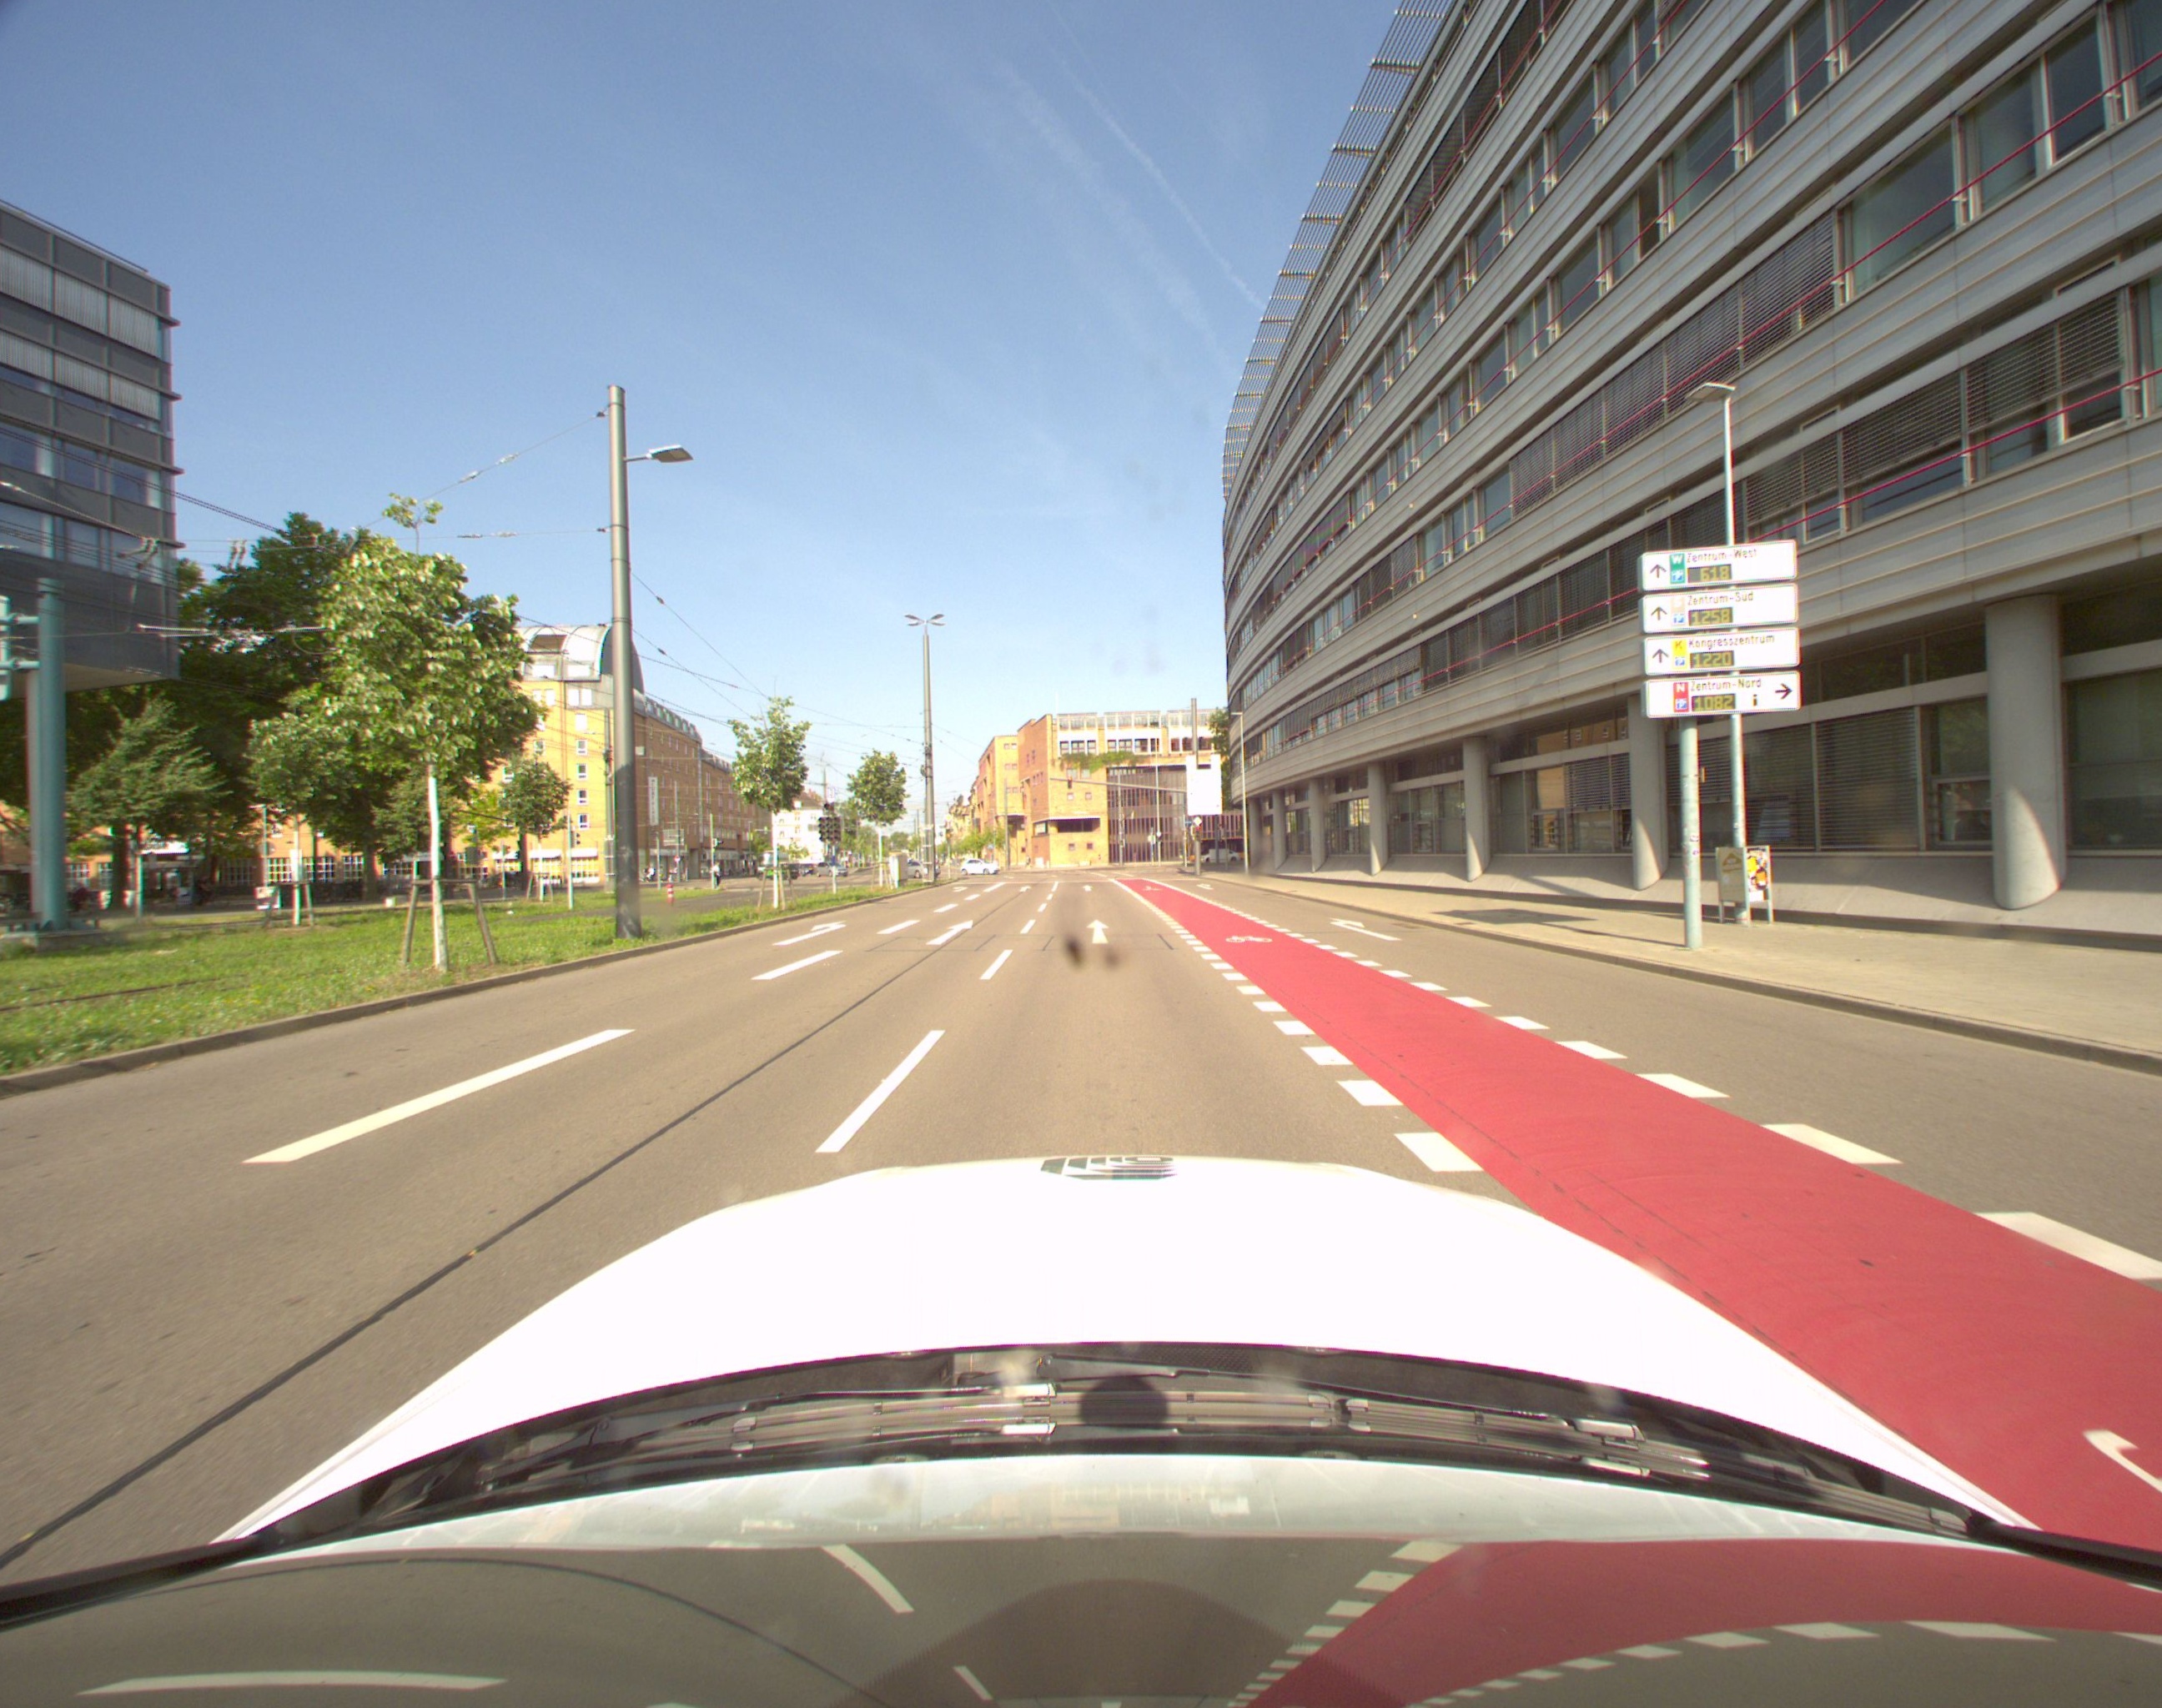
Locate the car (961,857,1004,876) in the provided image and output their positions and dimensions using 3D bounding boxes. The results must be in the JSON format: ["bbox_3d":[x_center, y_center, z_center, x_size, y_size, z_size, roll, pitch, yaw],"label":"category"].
[{"bbox_3d":[-8.851,1.104,73.355,3.405,1.542,1.745,-3,-2,24],"label":"car"}]

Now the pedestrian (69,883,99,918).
[{"bbox_3d":[-45.685,2.142,37.311,0.612,1.543,0.666,-2,0,17],"label":"pedestrian"}]

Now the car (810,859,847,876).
[{"bbox_3d":[-26.074,1.404,84.102,4.337,1.634,1.700,-1,2,45],"label":"car"}]

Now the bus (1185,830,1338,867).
[{"bbox_3d":[20.912,-0.643,94.344,17.616,3.811,2.854,-2,-2,-11],"label":"bus"}]

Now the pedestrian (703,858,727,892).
[{"bbox_3d":[-22.232,1.263,49.454,1.156,2.014,0.773,-1,-2,-12],"label":"pedestrian"}]

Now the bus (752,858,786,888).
[{"bbox_3d":[-43.841,2.678,114.769,2.750,3.921,12.159,-1,-2,-13],"label":"bus"}]

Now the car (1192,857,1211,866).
[{"bbox_3d":[13.167,0.800,88.923,1.946,0.958,1.093,0,-3,-2],"label":"car"}]

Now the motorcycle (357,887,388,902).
[{"bbox_3d":[-48.129,2.758,55.310,1.689,0.995,0.283,-2,-2,-9],"label":"motorcycle"}]

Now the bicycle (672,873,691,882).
[{"bbox_3d":[-46.728,2.794,95.245,1.964,0.970,0.417,-1,-2,-17],"label":"bicycle"}]

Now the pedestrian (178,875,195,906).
[{"bbox_3d":[-59.513,2.433,54.187,0.489,2.014,0.538,-2,-2,-8],"label":"pedestrian"}]

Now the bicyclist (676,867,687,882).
[{"bbox_3d":[-46.762,2.432,95.248,0.989,1.696,0.667,-1,-2,-16],"label":"bicyclist"}]

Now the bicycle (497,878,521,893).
[{"bbox_3d":[-48.058,2.663,68.429,0.547,1.206,2.284,-2,-2,-3],"label":"bicycle"}]

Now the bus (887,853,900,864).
[{"bbox_3d":[-34.626,0.879,150.539,1.999,2.013,3.975,-2,0,-18],"label":"bus"}]

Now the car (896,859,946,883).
[{"bbox_3d":[-13.174,1.409,67.132,3.840,1.755,1.721,-3,-1,32],"label":"car"}]

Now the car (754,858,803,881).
[{"bbox_3d":[-28.379,1.488,76.389,3.950,2.014,2.012,-3,-2,26],"label":"car"}]

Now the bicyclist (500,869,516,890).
[{"bbox_3d":[-48.052,2.110,68.279,0.663,1.747,0.965,-2,-2,-5],"label":"bicyclist"}]
